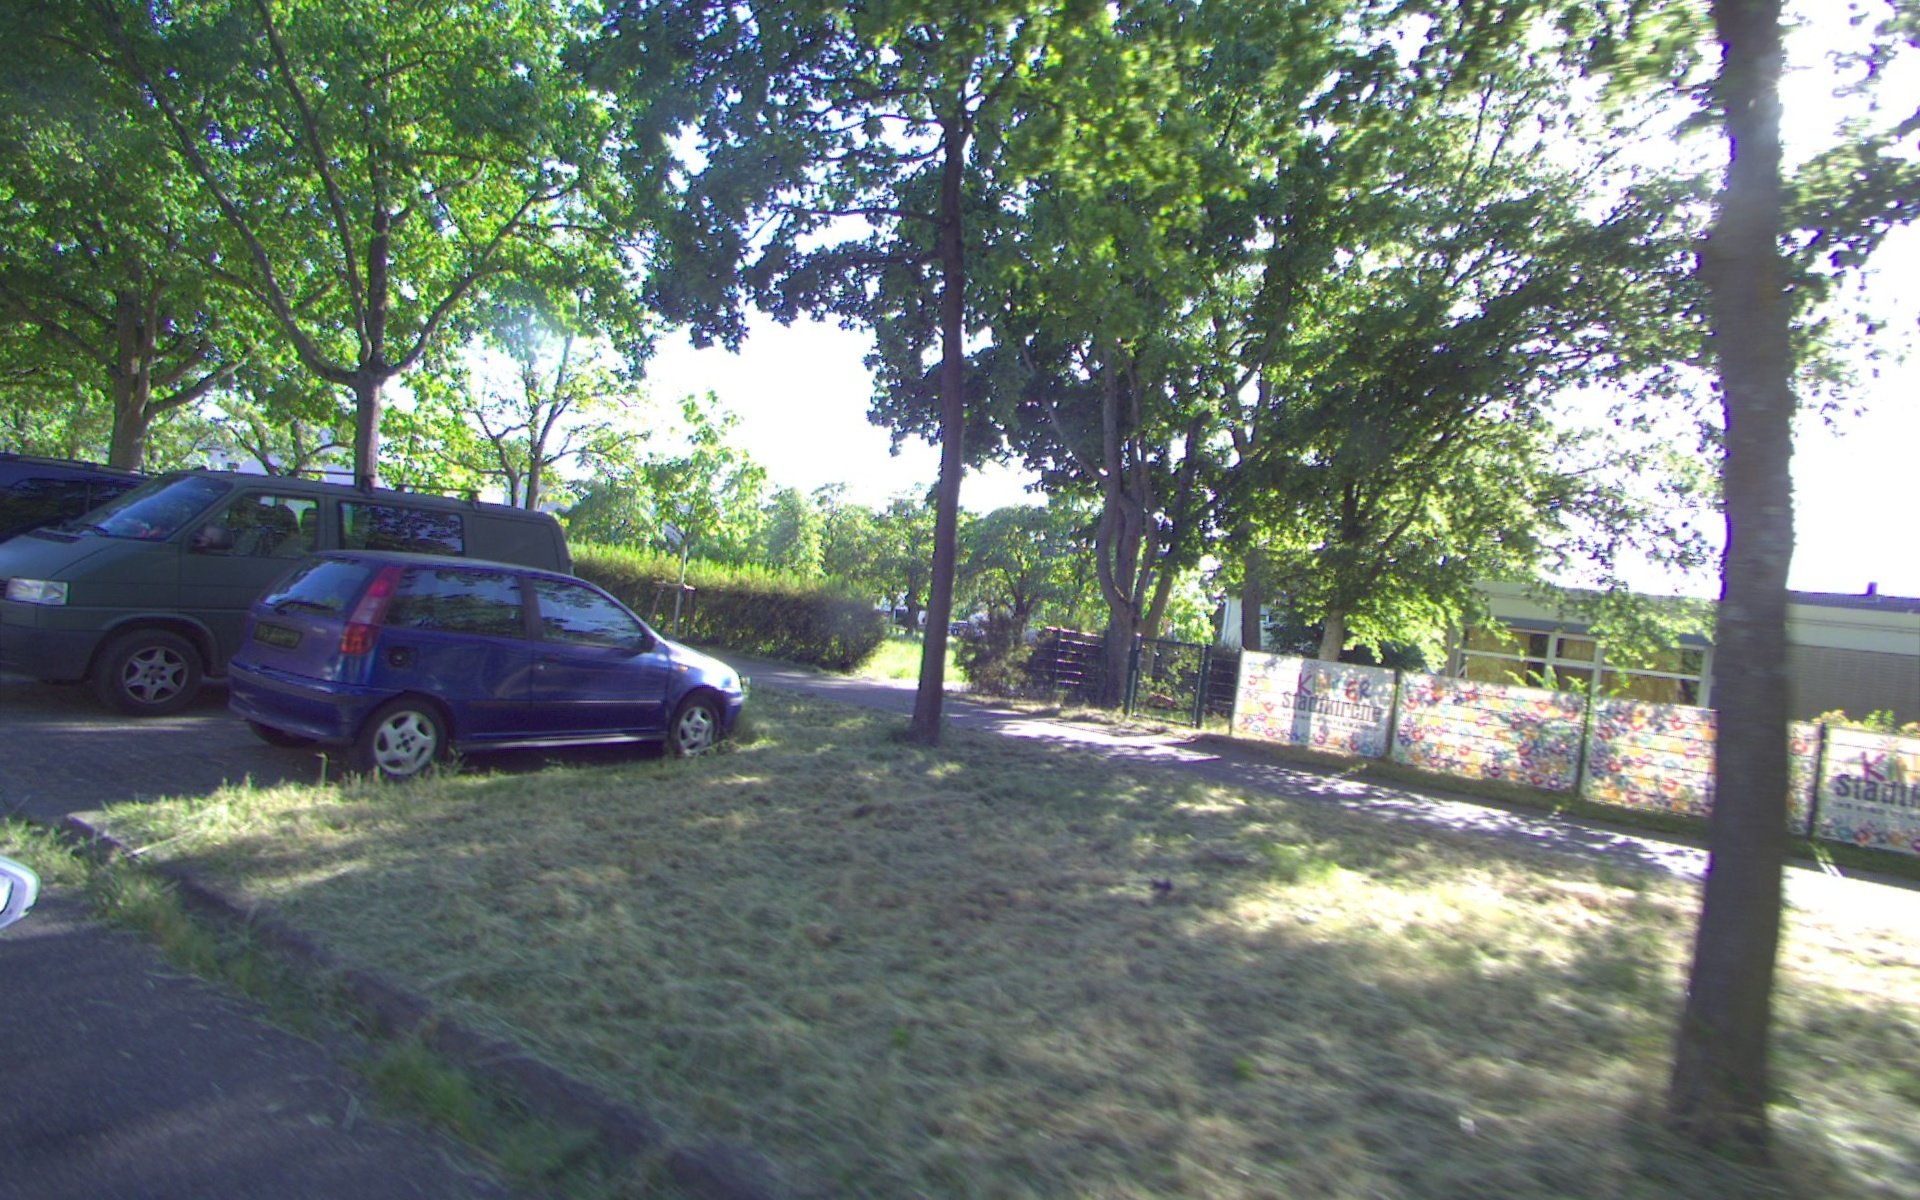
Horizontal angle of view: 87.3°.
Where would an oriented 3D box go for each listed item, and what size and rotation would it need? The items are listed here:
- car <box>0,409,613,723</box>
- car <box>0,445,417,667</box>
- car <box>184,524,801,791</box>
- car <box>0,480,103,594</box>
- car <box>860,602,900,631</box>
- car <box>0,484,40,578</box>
[{"bbox_3d":[-5.835,-0.137,9.086,1.912,2.057,4.808,7,0,32],"label":"car"},{"bbox_3d":[-8.063,-0.362,10.237,1.769,1.860,4.014,7,0,30],"label":"car"},{"bbox_3d":[-3.283,0.436,7.866,1.711,1.420,3.992,7,0,32],"label":"car"},{"bbox_3d":[-14.690,-1.051,14.234,1.638,1.551,3.522,7,0,34],"label":"car"},{"bbox_3d":[-8.847,1.787,110.879,2.320,2.640,5.435,8,-2,-26],"label":"car"},{"bbox_3d":[-18.259,-1.396,17.046,1.758,1.596,3.584,7,0,34],"label":"car"}]
